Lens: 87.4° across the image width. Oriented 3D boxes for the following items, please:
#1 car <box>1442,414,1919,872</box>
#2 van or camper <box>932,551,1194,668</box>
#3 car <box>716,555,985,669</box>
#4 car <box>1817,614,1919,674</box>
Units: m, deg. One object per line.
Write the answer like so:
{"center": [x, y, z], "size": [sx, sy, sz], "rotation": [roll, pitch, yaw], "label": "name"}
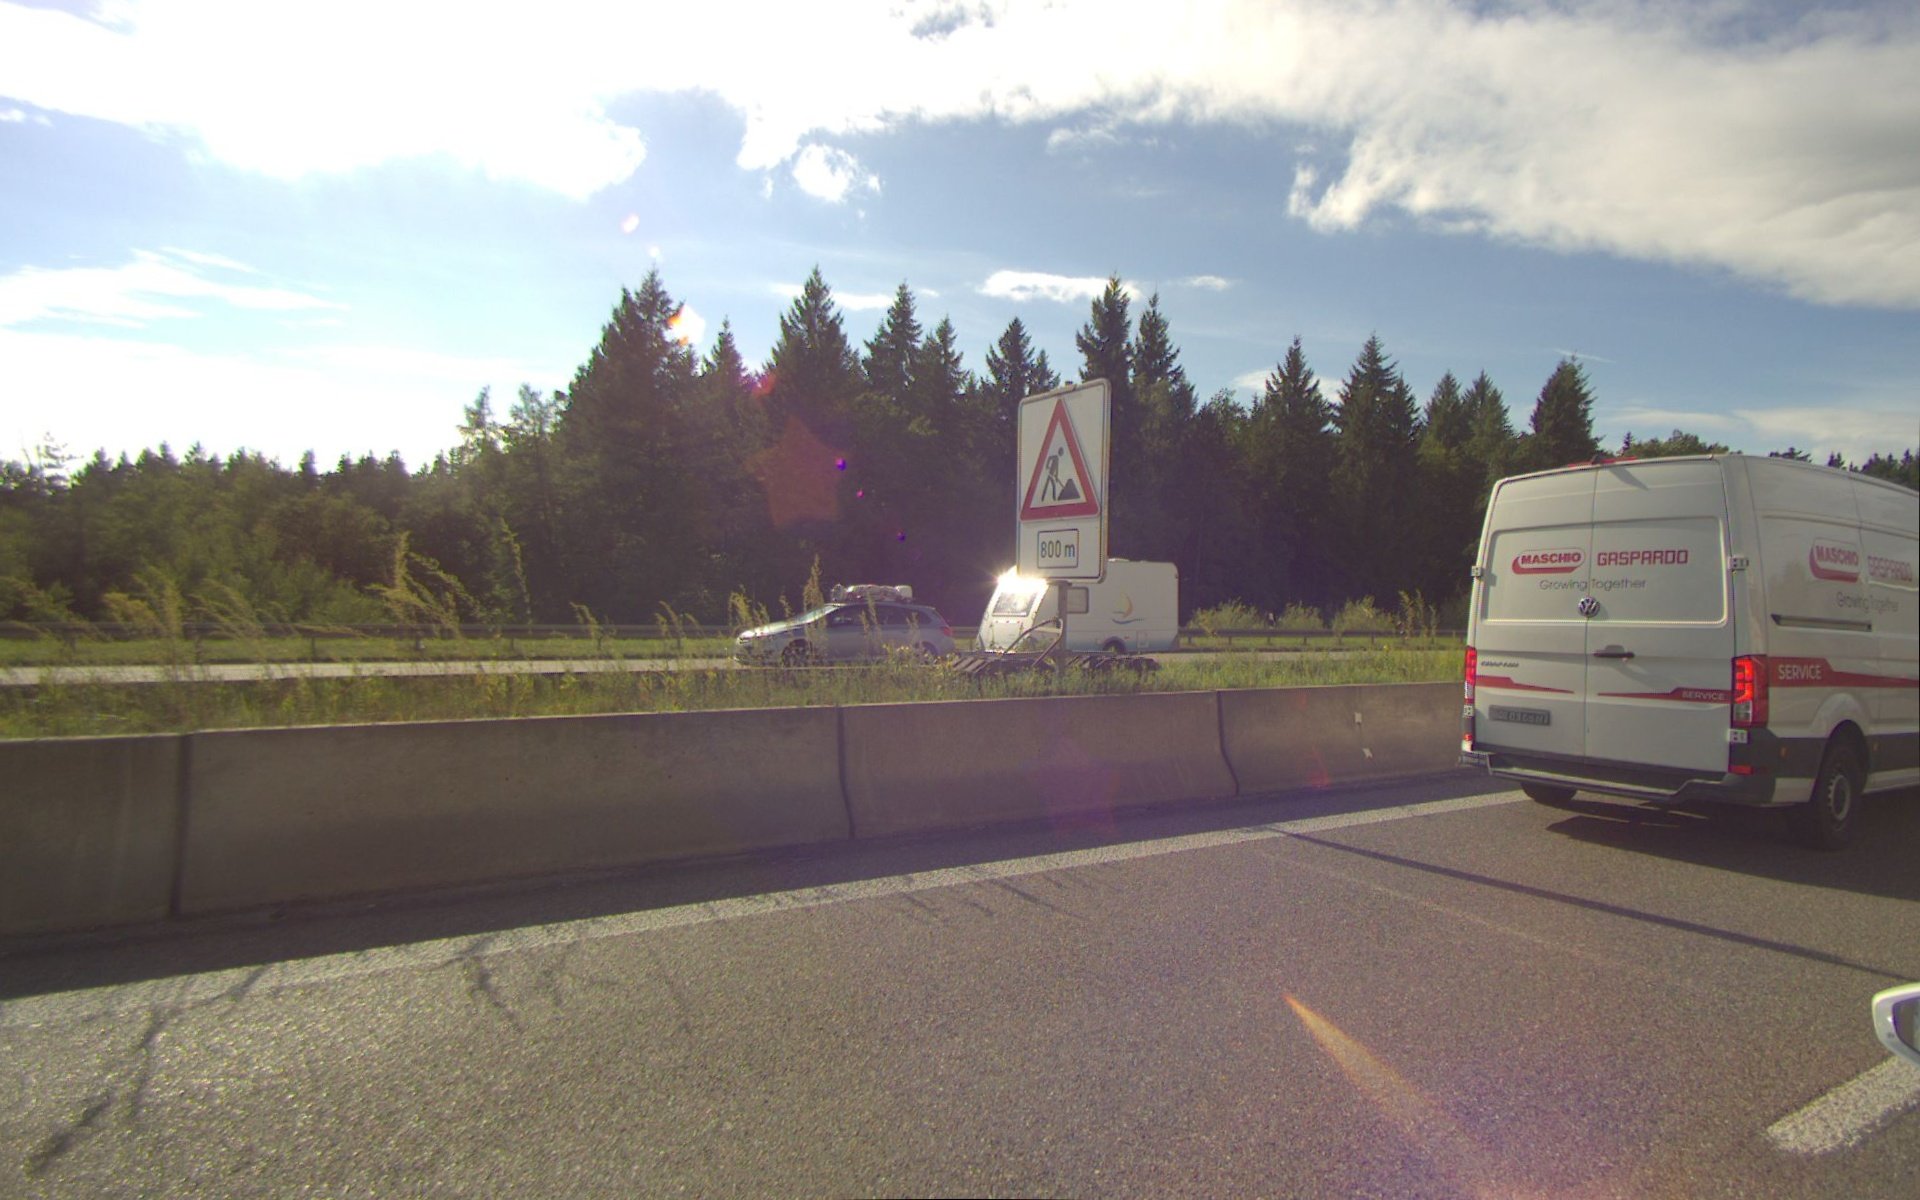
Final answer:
{"center": [6.712, 0.282, 8.259], "size": [6.113, 2.633, 2.004], "rotation": [1, 0, -32], "label": "car"}
{"center": [2.458, 0.268, 23.491], "size": [5.786, 2.446, 2.446], "rotation": [2, 0, -31], "label": "van or camper"}
{"center": [-2.208, 0.267, 20.672], "size": [5.025, 2.085, 2.228], "rotation": [2, 0, -31], "label": "car"}
{"center": [27.160, 1.268, 29.540], "size": [3.764, 1.626, 1.820], "rotation": [1, 0, -30], "label": "car"}
